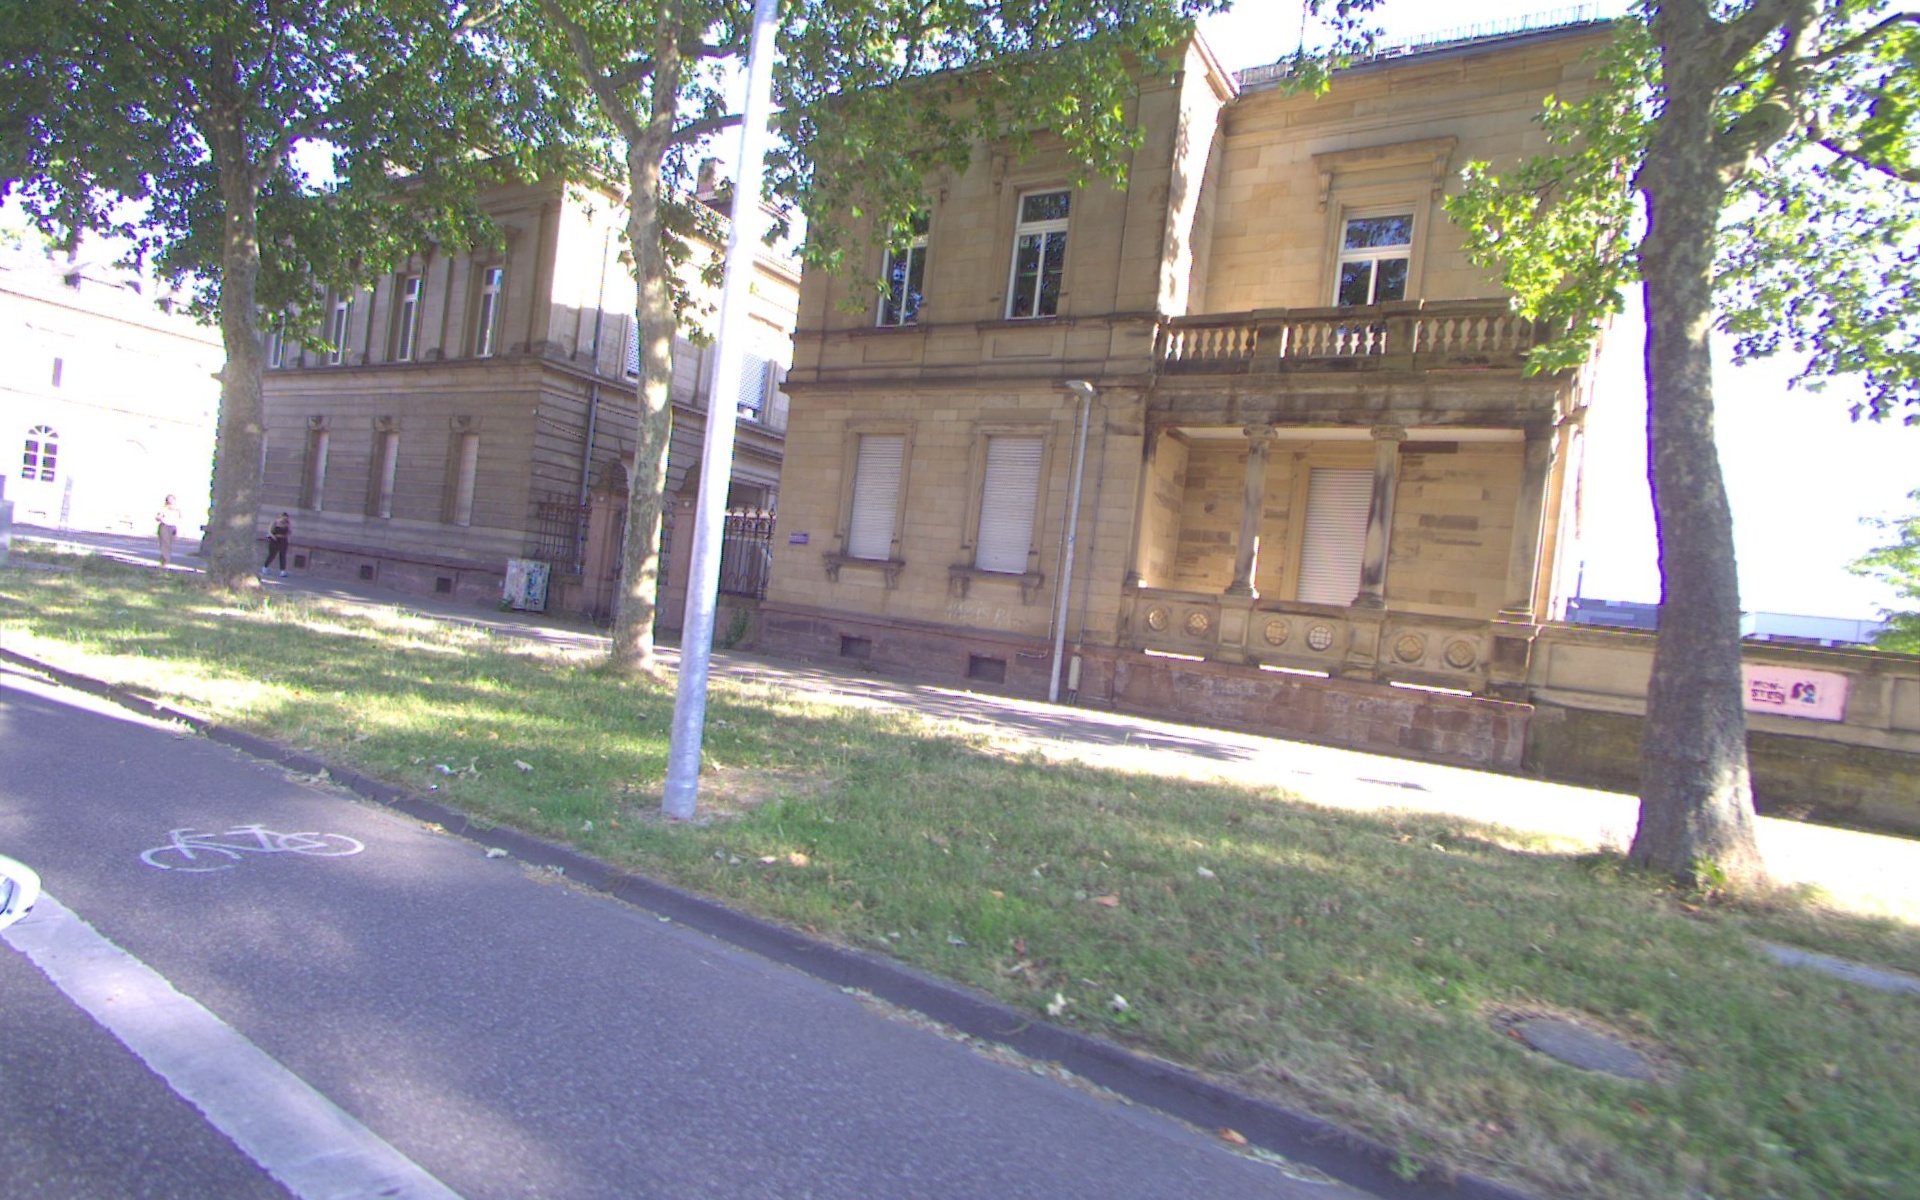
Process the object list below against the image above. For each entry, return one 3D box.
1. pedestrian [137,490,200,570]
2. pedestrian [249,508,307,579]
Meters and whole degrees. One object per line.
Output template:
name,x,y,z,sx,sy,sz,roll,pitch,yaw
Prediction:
pedestrian,-18.565,-1.634,23.604,1.025,1.731,0.770,7,1,34
pedestrian,-17.145,-1.415,25.295,0.970,1.626,0.770,7,1,34
